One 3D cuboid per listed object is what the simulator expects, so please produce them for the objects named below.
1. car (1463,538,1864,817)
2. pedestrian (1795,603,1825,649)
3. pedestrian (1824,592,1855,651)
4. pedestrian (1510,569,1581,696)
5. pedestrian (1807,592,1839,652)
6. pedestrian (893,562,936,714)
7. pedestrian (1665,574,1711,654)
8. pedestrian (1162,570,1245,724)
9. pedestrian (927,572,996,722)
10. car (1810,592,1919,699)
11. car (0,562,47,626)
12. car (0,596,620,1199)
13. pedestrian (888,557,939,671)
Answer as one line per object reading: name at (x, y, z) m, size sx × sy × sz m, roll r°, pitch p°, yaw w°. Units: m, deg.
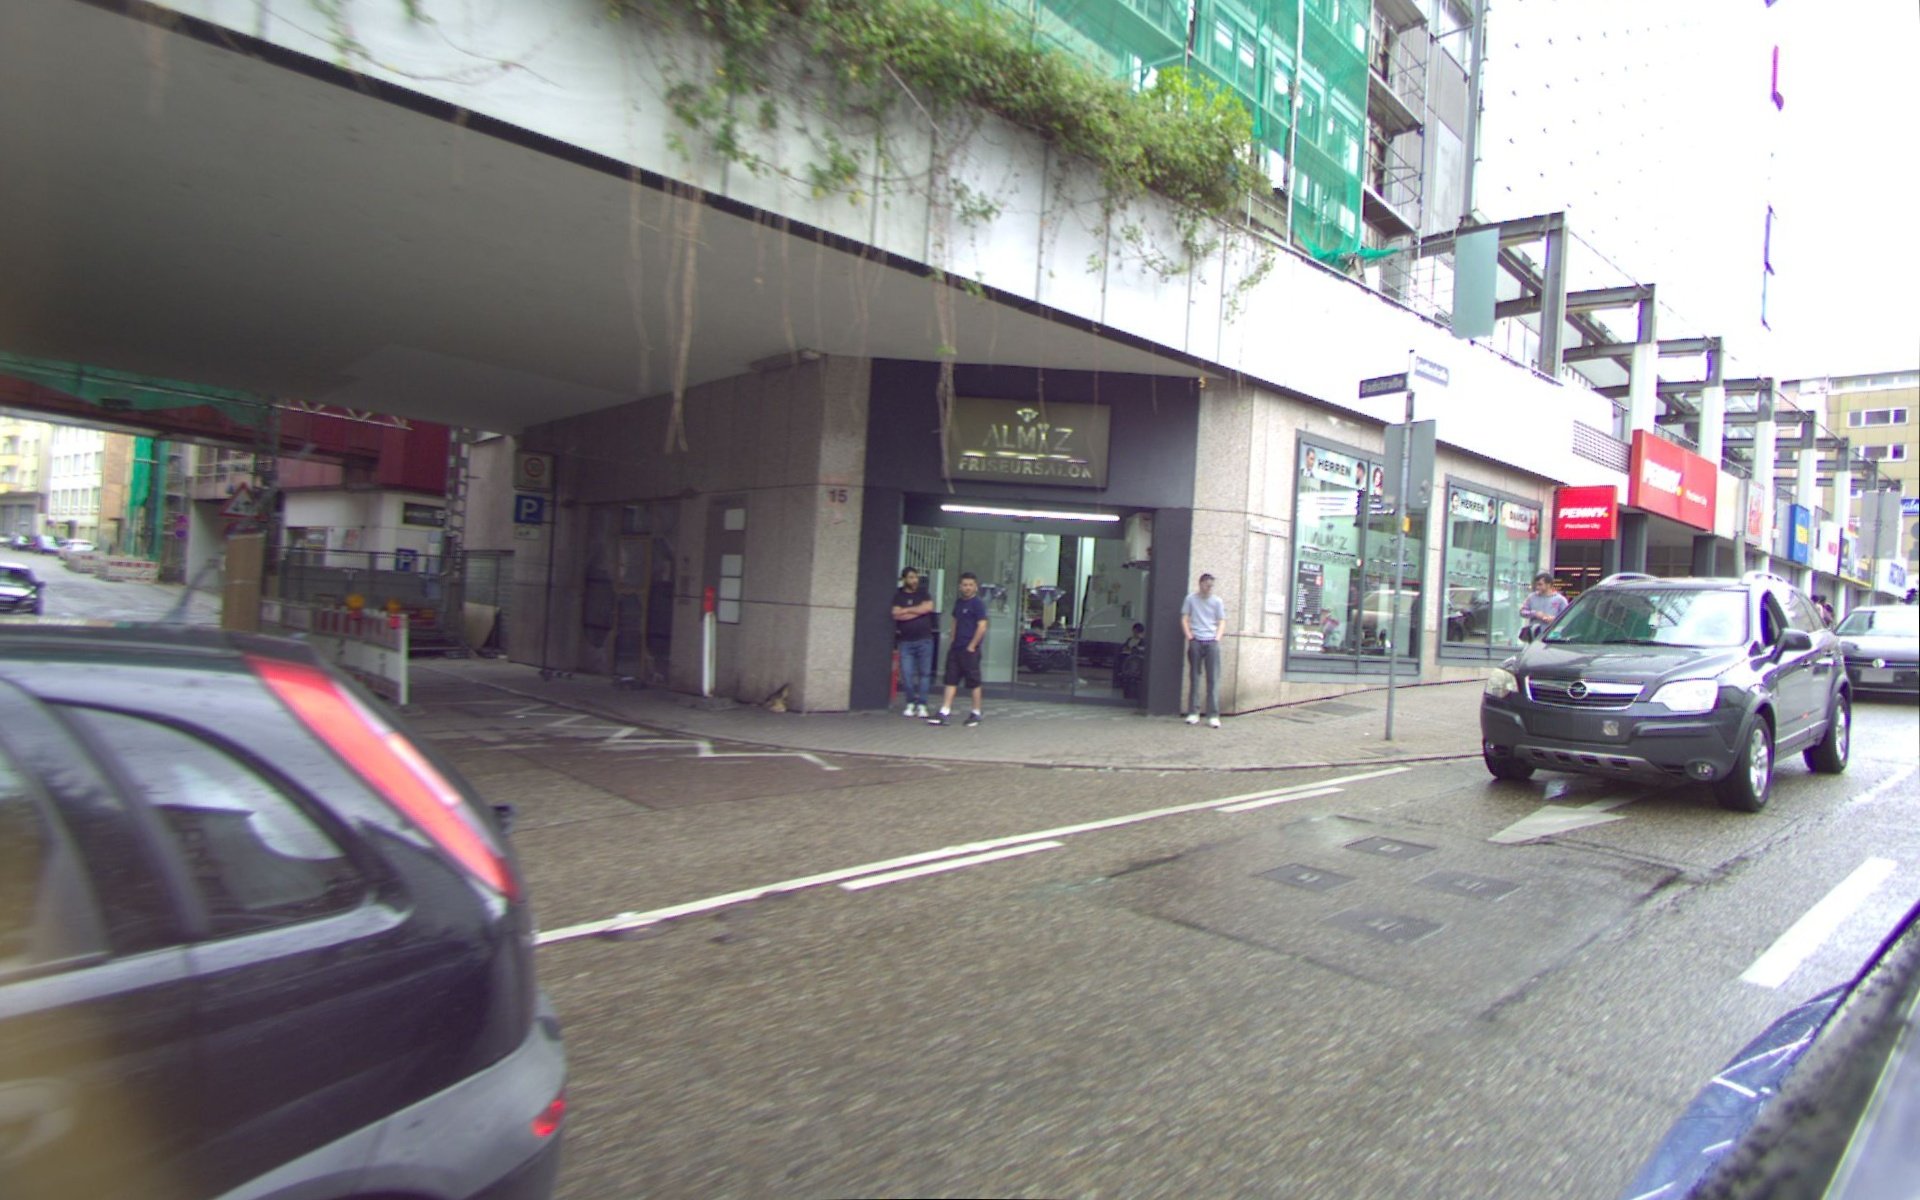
car at (6.030, 0.536, 8.489) m, size 4.089 × 1.788 × 1.763 m, roll 2°, pitch -1°, yaw -40°
pedestrian at (22.510, 0.688, 26.801) m, size 0.570 × 1.181 × 0.509 m, roll 0°, pitch 2°, yaw -42°
pedestrian at (23.332, 0.553, 26.843) m, size 0.570 × 1.519 × 0.509 m, roll 0°, pitch 2°, yaw -42°
pedestrian at (7.927, 0.415, 13.705) m, size 0.674 × 1.647 × 0.571 m, roll 3°, pitch 2°, yaw 42°
pedestrian at (22.275, 0.561, 26.124) m, size 0.570 × 1.519 × 0.509 m, roll 0°, pitch 2°, yaw -42°
pedestrian at (-0.529, 0.432, 11.784) m, size 0.474 × 1.729 × 0.467 m, roll 0°, pitch 0°, yaw 0°
pedestrian at (15.712, 0.287, 21.851) m, size 0.499 × 1.699 × 0.581 m, roll 0°, pitch 2°, yaw -21°
pedestrian at (2.761, 0.506, 11.473) m, size 0.722 × 1.663 × 0.637 m, roll 0°, pitch 0°, yaw -45°
pedestrian at (0.026, 0.502, 11.236) m, size 0.630 × 1.615 × 0.574 m, roll 0°, pitch 0°, yaw 16°
car at (14.928, 0.687, 15.880) m, size 4.089 × 1.524 × 1.758 m, roll 2°, pitch -1°, yaw -40°
car at (-20.818, -0.122, 21.667) m, size 1.788 × 1.277 × 4.053 m, roll -1°, pitch 1°, yaw -44°
car at (-2.453, 0.696, 1.164) m, size 3.558 × 1.447 × 1.610 m, roll 2°, pitch -1°, yaw -40°
pedestrian at (-0.769, 0.216, 16.855) m, size 0.730 × 1.838 × 0.773 m, roll 2°, pitch 1°, yaw 3°
